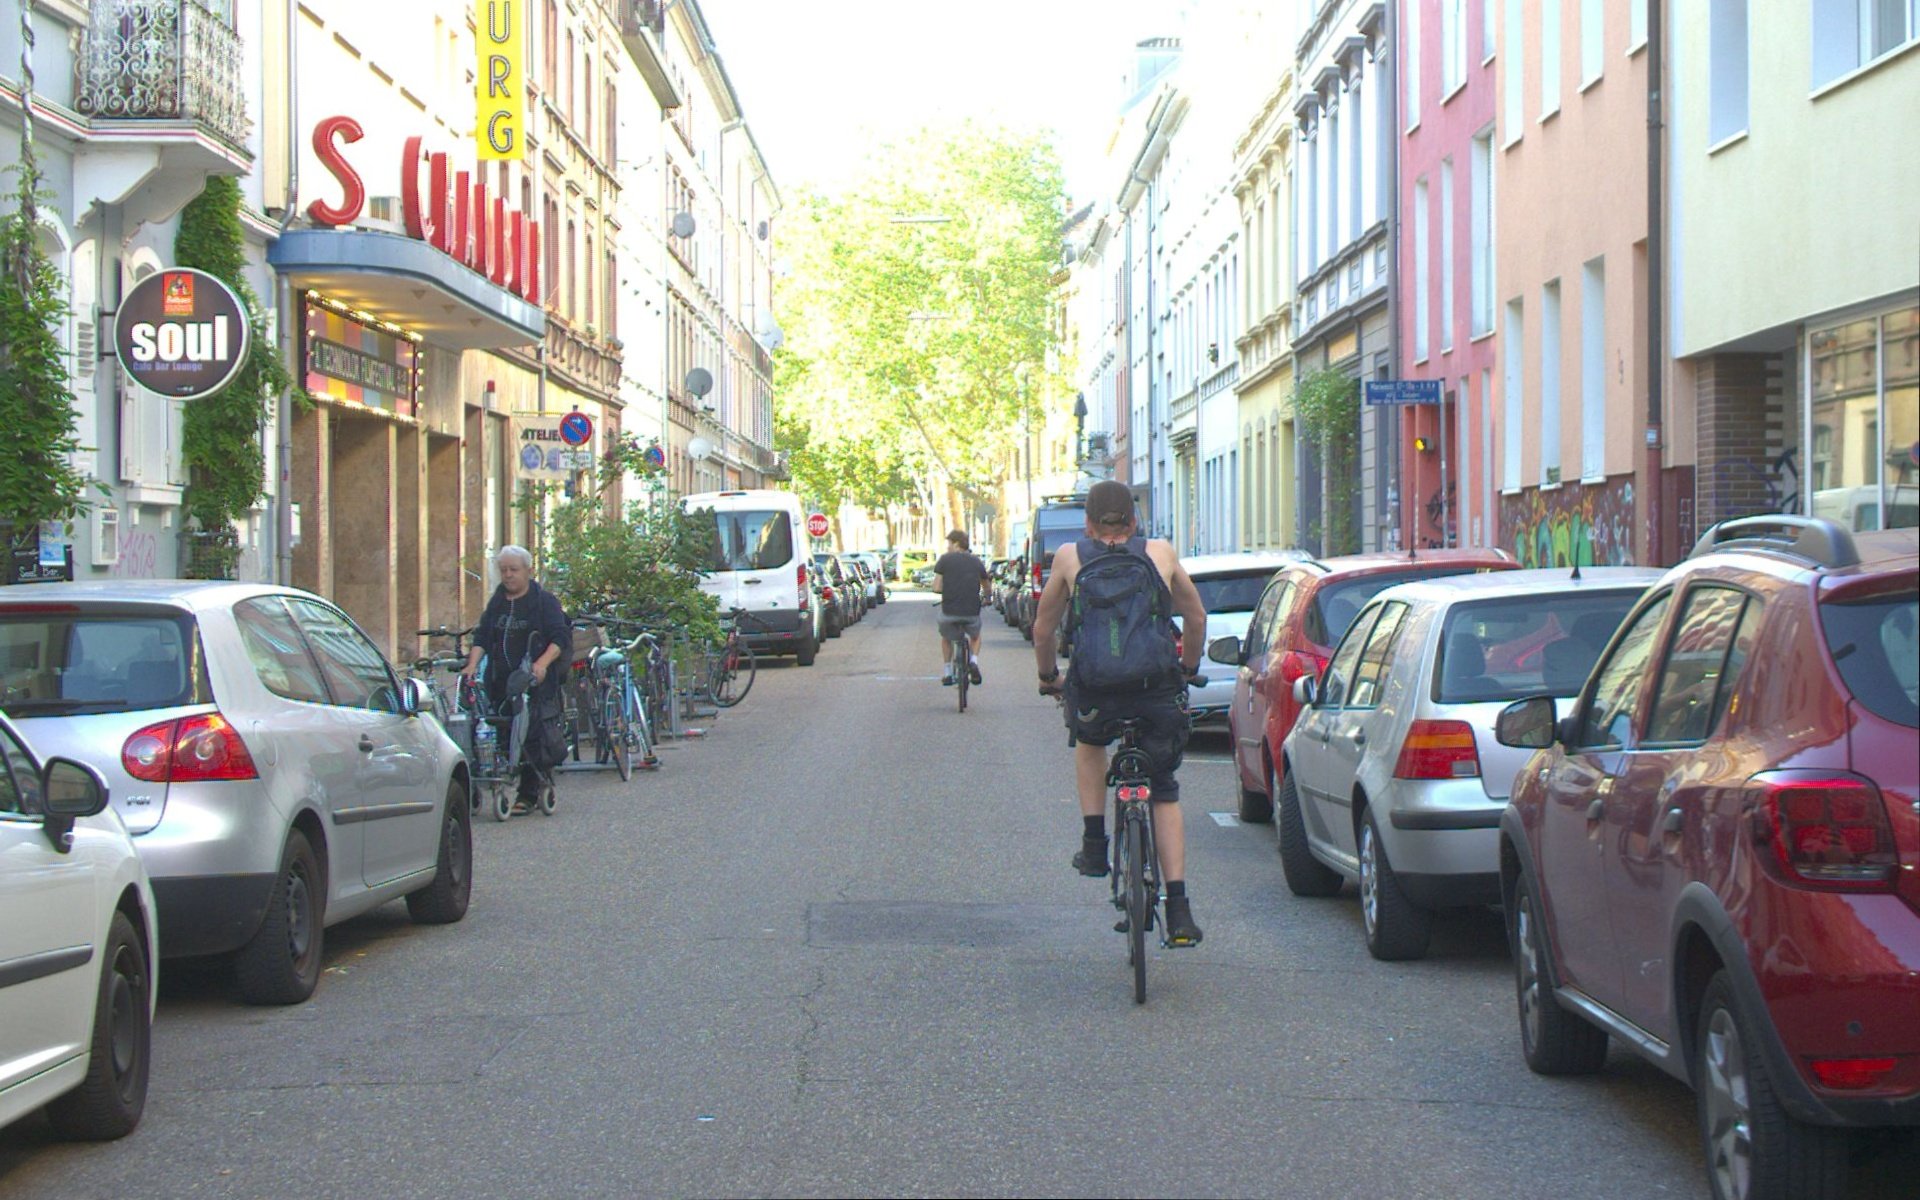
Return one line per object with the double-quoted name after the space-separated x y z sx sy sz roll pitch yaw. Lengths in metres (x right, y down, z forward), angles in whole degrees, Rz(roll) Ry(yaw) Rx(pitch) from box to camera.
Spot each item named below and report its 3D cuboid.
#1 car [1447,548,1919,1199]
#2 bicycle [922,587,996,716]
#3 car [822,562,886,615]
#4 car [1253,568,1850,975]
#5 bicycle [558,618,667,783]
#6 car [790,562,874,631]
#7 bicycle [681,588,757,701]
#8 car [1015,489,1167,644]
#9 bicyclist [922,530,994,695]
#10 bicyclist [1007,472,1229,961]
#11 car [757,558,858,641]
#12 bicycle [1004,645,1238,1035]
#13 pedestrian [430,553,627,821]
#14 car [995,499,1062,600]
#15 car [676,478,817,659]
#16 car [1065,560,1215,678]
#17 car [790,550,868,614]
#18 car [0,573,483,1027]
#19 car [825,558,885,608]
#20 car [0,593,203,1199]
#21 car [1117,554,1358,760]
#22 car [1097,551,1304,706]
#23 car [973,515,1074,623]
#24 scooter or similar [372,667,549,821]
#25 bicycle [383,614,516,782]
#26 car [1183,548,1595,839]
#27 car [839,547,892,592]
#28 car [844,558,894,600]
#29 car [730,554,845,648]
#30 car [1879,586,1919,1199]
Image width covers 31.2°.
2.437 0.647 8.871 1.710 1.551 4.000 -2 0 0 "car"
-0.024 0.489 34.086 0.702 1.204 2.342 0 1 -1 "bicycle"
-3.008 -0.330 98.536 1.672 1.437 4.165 -2 0 0 "car"
2.277 0.599 14.245 1.710 1.378 4.000 -2 0 0 "car"
-2.486 0.698 24.783 0.699 1.102 2.275 1 0 -4 "bicycle"
-2.841 -0.090 76.980 1.672 1.437 4.165 -2 0 0 "car"
-2.575 0.458 36.754 0.758 1.159 2.275 1 0 -4 "bicycle"
2.260 -0.587 61.375 2.307 2.529 6.770 -2 0 0 "car"
-0.026 0.114 34.068 0.702 1.599 0.813 0 2 -1 "bicyclist"
0.536 0.388 12.072 0.702 1.628 1.090 1 0 0 "bicyclist"
-2.828 -0.028 64.439 1.672 1.437 4.165 -2 0 0 "car"
0.534 0.790 12.272 0.702 1.204 2.342 1 0 0 "bicycle"
-2.614 0.512 20.825 0.897 1.573 0.773 1 0 -36 "pedestrian"
2.633 -1.943 134.201 2.307 3.755 6.770 -2 0 0 "car"
-3.064 -0.473 50.069 1.909 2.488 4.166 -1 1 -2 "car"
2.355 0.232 45.902 1.710 1.442 4.000 -2 0 0 "car"
-3.138 -0.441 83.002 1.672 1.437 4.165 -2 0 0 "car"
-3.008 0.652 13.043 1.672 1.437 3.753 -2 0 2 "car"
-3.209 -0.527 105.761 1.672 1.437 4.165 -2 0 0 "car"
-2.982 0.744 7.774 1.672 1.437 3.768 -2 0 0 "car"
2.261 0.432 28.899 1.620 1.545 4.000 -2 0 0 "car"
2.344 0.258 34.351 1.710 1.389 4.000 -2 0 0 "car"
1.554 -0.781 86.827 2.307 2.529 6.770 -2 0 0 "car"
-2.989 0.850 20.553 0.768 0.870 0.773 1 0 -36 "scooter or similar"
-3.671 0.683 24.876 0.758 1.130 2.275 1 0 -4 "bicycle"
2.260 0.454 19.078 1.710 1.378 4.000 -2 0 0 "car"
-3.225 -1.042 118.336 1.672 1.437 4.165 -2 0 0 "car"
-3.316 -0.768 125.698 1.672 1.437 4.165 -2 0 0 "car"
-2.820 0.004 56.938 1.672 1.437 4.165 -2 0 0 "car"
2.352 0.712 3.247 1.817 1.516 4.000 -2 0 0 "car"
